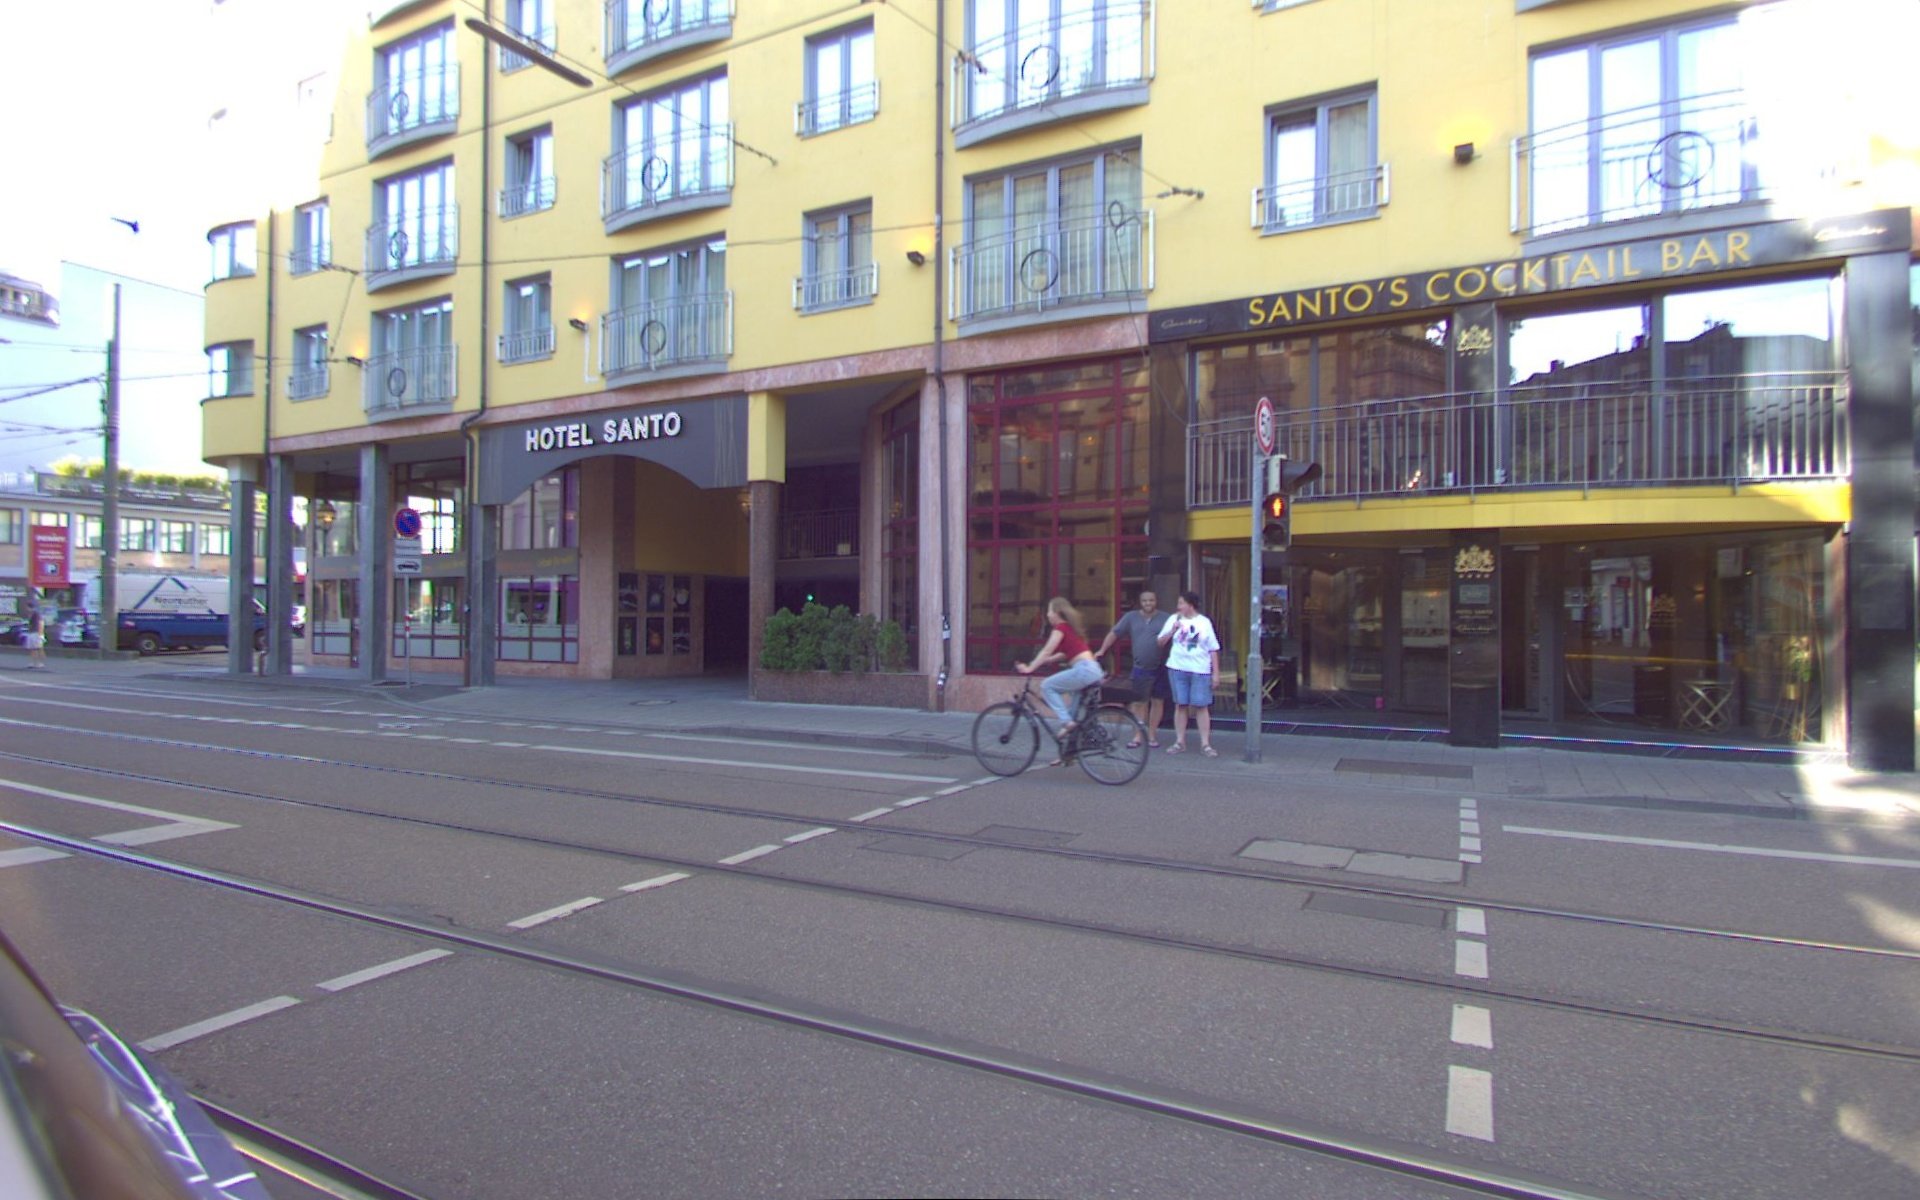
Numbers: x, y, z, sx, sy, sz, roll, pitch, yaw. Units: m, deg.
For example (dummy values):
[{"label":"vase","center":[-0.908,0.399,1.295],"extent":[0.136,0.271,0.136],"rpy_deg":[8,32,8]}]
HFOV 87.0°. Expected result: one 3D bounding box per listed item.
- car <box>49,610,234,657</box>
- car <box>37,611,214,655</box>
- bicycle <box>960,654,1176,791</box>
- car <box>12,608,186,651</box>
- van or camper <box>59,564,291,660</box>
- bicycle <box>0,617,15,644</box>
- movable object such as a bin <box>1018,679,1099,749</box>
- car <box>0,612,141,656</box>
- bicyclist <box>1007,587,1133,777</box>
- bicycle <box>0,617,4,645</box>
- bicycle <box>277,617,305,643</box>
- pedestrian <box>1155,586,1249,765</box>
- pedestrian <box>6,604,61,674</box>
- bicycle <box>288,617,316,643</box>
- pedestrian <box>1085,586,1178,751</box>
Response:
[{"label":"car","center":[-27.896,1.139,34.667],"extent":[1.871,1.487,4.559],"rpy_deg":[-1,-2,28]},{"label":"car","center":[-29.829,1.171,36.347],"extent":[1.871,1.487,4.559],"rpy_deg":[-1,-2,28]},{"label":"bicycle","center":[0.990,1.090,9.411],"extent":[1.888,1.117,0.692],"rpy_deg":[0,-1,27]},{"label":"car","center":[-31.668,1.082,37.384],"extent":[1.871,1.487,4.559],"rpy_deg":[-1,-2,28]},{"label":"van or camper","center":[-25.604,0.445,33.291],"extent":[2.305,2.849,5.569],"rpy_deg":[-1,-2,28]},{"label":"bicycle","center":[-42.101,1.332,44.291],"extent":[1.821,1.196,0.445],"rpy_deg":[-1,-2,26]},{"label":"movable object such as a bin","center":[1.147,1.313,11.775],"extent":[0.837,0.721,0.381],"rpy_deg":[-1,3,29]},{"label":"car","center":[-34.642,1.284,38.679],"extent":[1.871,1.595,4.863],"rpy_deg":[-1,-2,28]},{"label":"bicyclist","center":[1.029,0.726,9.398],"extent":[0.985,1.656,0.697],"rpy_deg":[0,-1,27]},{"label":"bicycle","center":[-42.221,1.355,43.923],"extent":[1.821,1.196,0.445],"rpy_deg":[-1,-2,26]},{"label":"bicycle","center":[-30.905,1.388,46.742],"extent":[1.827,1.196,0.427],"rpy_deg":[-1,-2,35]},{"label":"pedestrian","center":[2.704,0.791,11.240],"extent":[0.750,1.832,1.037],"rpy_deg":[-1,3,27]},{"label":"pedestrian","center":[-25.259,1.056,27.606],"extent":[0.905,1.846,0.828],"rpy_deg":[-1,-2,28]},{"label":"bicycle","center":[-30.634,1.406,47.129],"extent":[1.827,1.196,0.427],"rpy_deg":[-1,-2,35]},{"label":"pedestrian","center":[1.975,0.754,11.619],"extent":[0.797,1.784,0.742],"rpy_deg":[-1,3,30]}]
